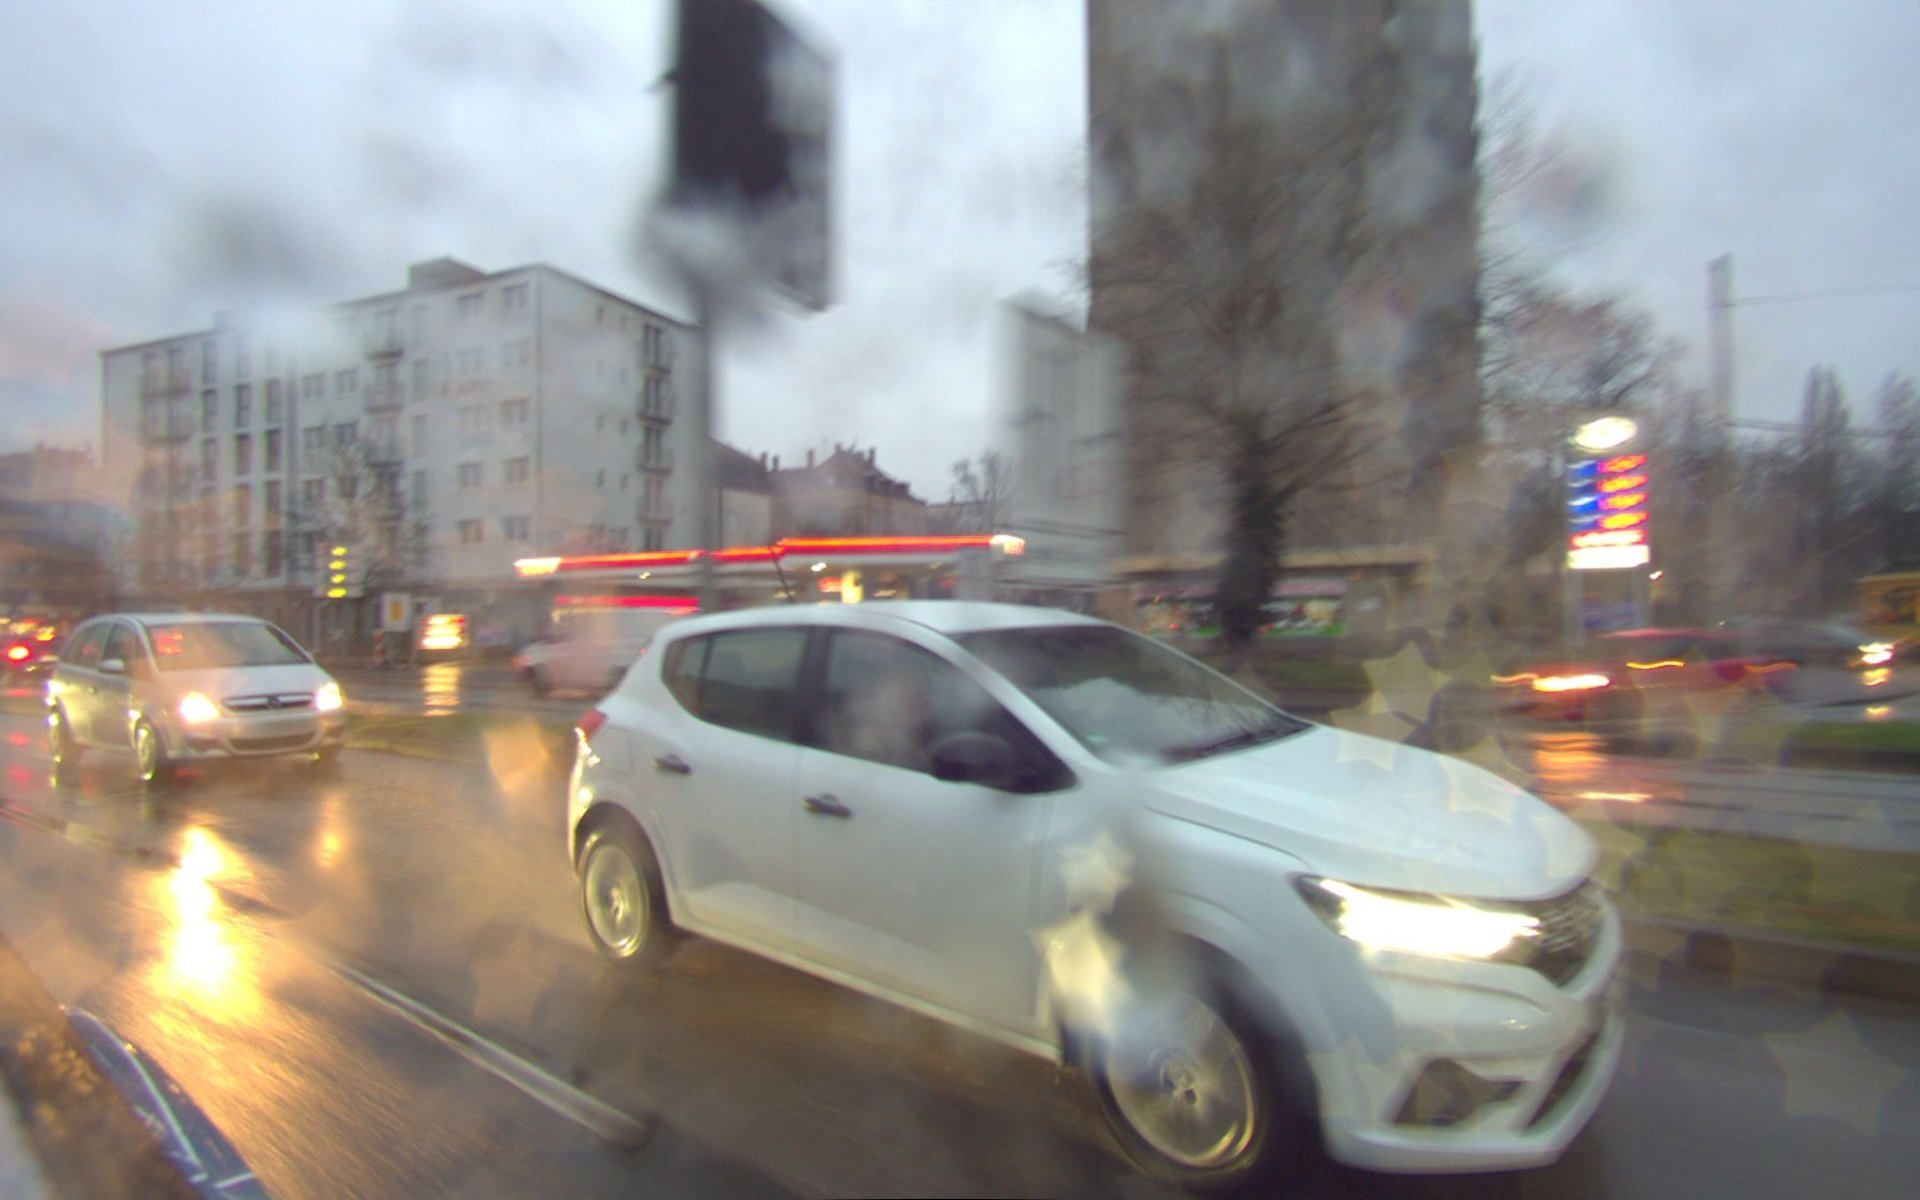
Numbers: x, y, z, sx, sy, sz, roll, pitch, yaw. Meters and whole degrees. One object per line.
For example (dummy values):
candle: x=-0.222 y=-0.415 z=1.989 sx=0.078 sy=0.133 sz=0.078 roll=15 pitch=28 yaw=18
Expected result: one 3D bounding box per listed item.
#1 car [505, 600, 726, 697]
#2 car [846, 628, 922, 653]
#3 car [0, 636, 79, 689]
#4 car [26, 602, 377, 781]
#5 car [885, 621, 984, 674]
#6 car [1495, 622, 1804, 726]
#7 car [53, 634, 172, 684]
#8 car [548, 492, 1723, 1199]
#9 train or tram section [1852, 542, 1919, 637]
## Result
car: x=-7.705 y=1.088 z=22.512 sx=4.836 sy=1.961 sz=1.979 roll=-2 pitch=-4 yaw=31
car: x=-4.371 y=2.312 z=58.255 sx=3.975 sy=1.391 sz=1.947 roll=-1 pitch=-2 yaw=24
car: x=-28.169 y=1.840 z=30.093 sx=4.126 sy=1.498 sz=1.634 roll=-2 pitch=-3 yaw=29
car: x=-8.057 y=0.855 z=10.655 sx=4.096 sy=1.560 sz=1.632 roll=-2 pitch=-1 yaw=33
car: x=-0.719 y=1.453 z=31.607 sx=1.766 sy=1.542 sz=3.974 roll=-1 pitch=-2 yaw=20
car: x=10.678 y=1.100 z=15.810 sx=3.791 sy=1.461 sz=1.652 roll=-1 pitch=-1 yaw=-7
car: x=-28.471 y=1.982 z=33.970 sx=4.261 sy=1.579 sz=1.634 roll=-2 pitch=-3 yaw=29
car: x=0.232 y=0.638 z=3.729 sx=3.997 sy=1.498 sz=1.609 roll=-3 pitch=-3 yaw=41
train or tram section: x=34.018 y=-0.398 z=32.829 sx=3.142 sy=3.262 sz=11.090 roll=-1 pitch=0 yaw=17
